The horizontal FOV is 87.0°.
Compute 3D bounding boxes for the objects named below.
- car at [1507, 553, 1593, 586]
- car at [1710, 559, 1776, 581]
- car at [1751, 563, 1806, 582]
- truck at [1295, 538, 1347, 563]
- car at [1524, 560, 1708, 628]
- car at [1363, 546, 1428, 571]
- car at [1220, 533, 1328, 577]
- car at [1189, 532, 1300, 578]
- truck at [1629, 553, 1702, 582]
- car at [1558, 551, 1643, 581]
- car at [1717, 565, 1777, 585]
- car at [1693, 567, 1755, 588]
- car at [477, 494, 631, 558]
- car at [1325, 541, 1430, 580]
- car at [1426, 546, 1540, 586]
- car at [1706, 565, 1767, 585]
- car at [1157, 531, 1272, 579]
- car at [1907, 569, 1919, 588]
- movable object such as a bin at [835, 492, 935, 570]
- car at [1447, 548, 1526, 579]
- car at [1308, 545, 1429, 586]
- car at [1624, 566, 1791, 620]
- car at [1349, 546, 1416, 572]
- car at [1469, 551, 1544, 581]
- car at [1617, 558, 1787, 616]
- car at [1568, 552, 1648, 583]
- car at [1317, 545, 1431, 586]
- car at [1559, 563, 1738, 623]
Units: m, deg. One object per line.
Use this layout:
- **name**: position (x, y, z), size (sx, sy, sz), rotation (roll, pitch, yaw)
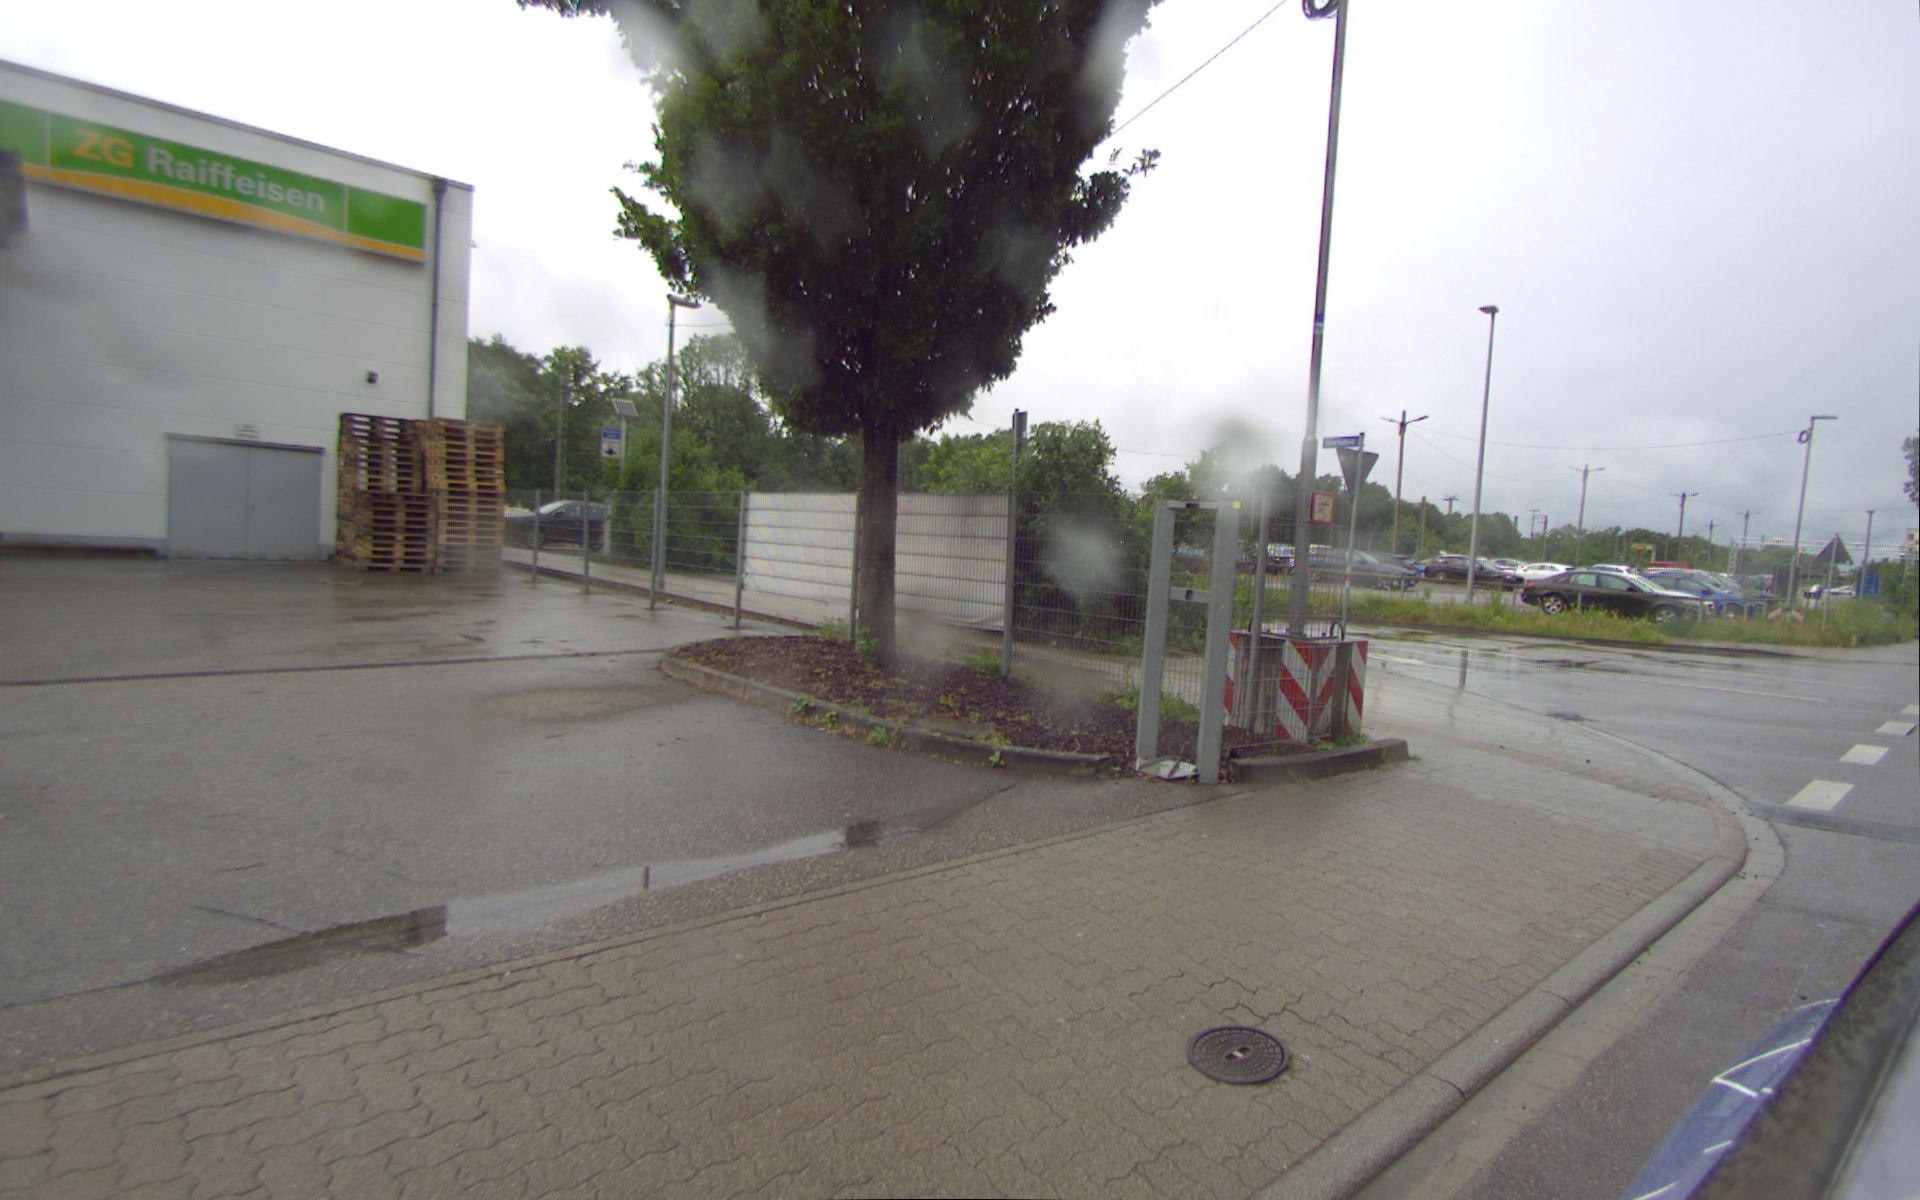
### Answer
- **car**: position (34.311, -1.797, 58.917), size (1.893, 1.500, 3.844), rotation (-2, 8, -38)
- **car**: position (65.019, -2.498, 84.098), size (1.746, 1.507, 3.965), rotation (-2, 7, -39)
- **car**: position (84.004, -2.812, 103.914), size (1.775, 1.554, 3.965), rotation (-2, 7, -39)
- **truck**: position (33.628, -4.574, 94.174), size (5.186, 2.037, 2.087), rotation (0, 5, -41)
- **car**: position (19.108, -0.249, 29.575), size (4.217, 1.416, 1.863), rotation (9, 8, 40)
- **car**: position (35.031, -3.364, 81.476), size (1.988, 1.741, 4.325), rotation (-1, 6, -44)
- **car**: position (15.031, -2.179, 48.578), size (2.009, 1.691, 4.453), rotation (-2, 8, -42)
- **car**: position (13.003, -2.112, 46.435), size (2.010, 1.691, 4.449), rotation (-3, 9, -44)
- **truck**: position (68.009, -3.114, 97.650), size (2.116, 2.395, 5.301), rotation (-1, 6, -42)
- **car**: position (40.337, -2.162, 63.783), size (1.893, 1.500, 4.060), rotation (-2, 8, -38)
- **car**: position (72.285, -2.346, 93.021), size (1.853, 1.443, 3.965), rotation (-2, 7, -39)
- **car**: position (67.627, -2.039, 89.661), size (1.853, 1.443, 3.965), rotation (-2, 7, -39)
- **car**: position (-13.223, -2.385, 33.152), size (1.786, 1.844, 4.313), rotation (8, 7, 44)
- **car**: position (22.410, -2.159, 54.492), size (2.009, 1.623, 4.714), rotation (-2, 8, -42)
- **car**: position (26.015, -1.737, 50.433), size (4.621, 1.736, 1.988), rotation (5, 6, 43)
- **car**: position (69.912, -2.272, 91.176), size (1.853, 1.443, 3.965), rotation (-2, 7, -39)
- **car**: position (11.163, -2.043, 44.640), size (2.010, 1.691, 4.449), rotation (-3, 9, -44)
- **car**: position (77.605, -1.615, 80.069), size (1.875, 1.409, 3.776), rotation (-2, 6, -43)
- **movable object such as a bin**: position (-3.116, -2.856, 41.531), size (1.966, 3.028, 3.995), rotation (0, 4, -42)
- **car**: position (34.261, -2.423, 65.970), size (1.893, 1.623, 4.073), rotation (-2, 8, -40)
- **car**: position (16.285, -1.401, 40.453), size (1.965, 1.425, 3.997), rotation (-2, 5, -40)
- **car**: position (25.783, -0.304, 35.029), size (1.788, 1.534, 4.306), rotation (-2, 5, -41)
- **car**: position (33.159, -3.227, 79.477), size (1.988, 1.741, 4.325), rotation (-1, 6, -44)
- **car**: position (37.980, -2.386, 70.400), size (1.802, 1.678, 4.069), rotation (-3, 9, -43)
- **car**: position (28.025, -0.570, 38.388), size (2.089, 1.755, 4.699), rotation (-1, 6, -37)
- **car**: position (42.328, -2.170, 66.145), size (1.754, 1.601, 3.918), rotation (-2, 8, -38)
- **car**: position (17.488, -1.500, 42.897), size (1.965, 1.503, 3.997), rotation (-2, 5, -40)
- **car**: position (21.285, -0.276, 31.421), size (1.858, 1.527, 4.191), rotation (-2, 5, -41)
